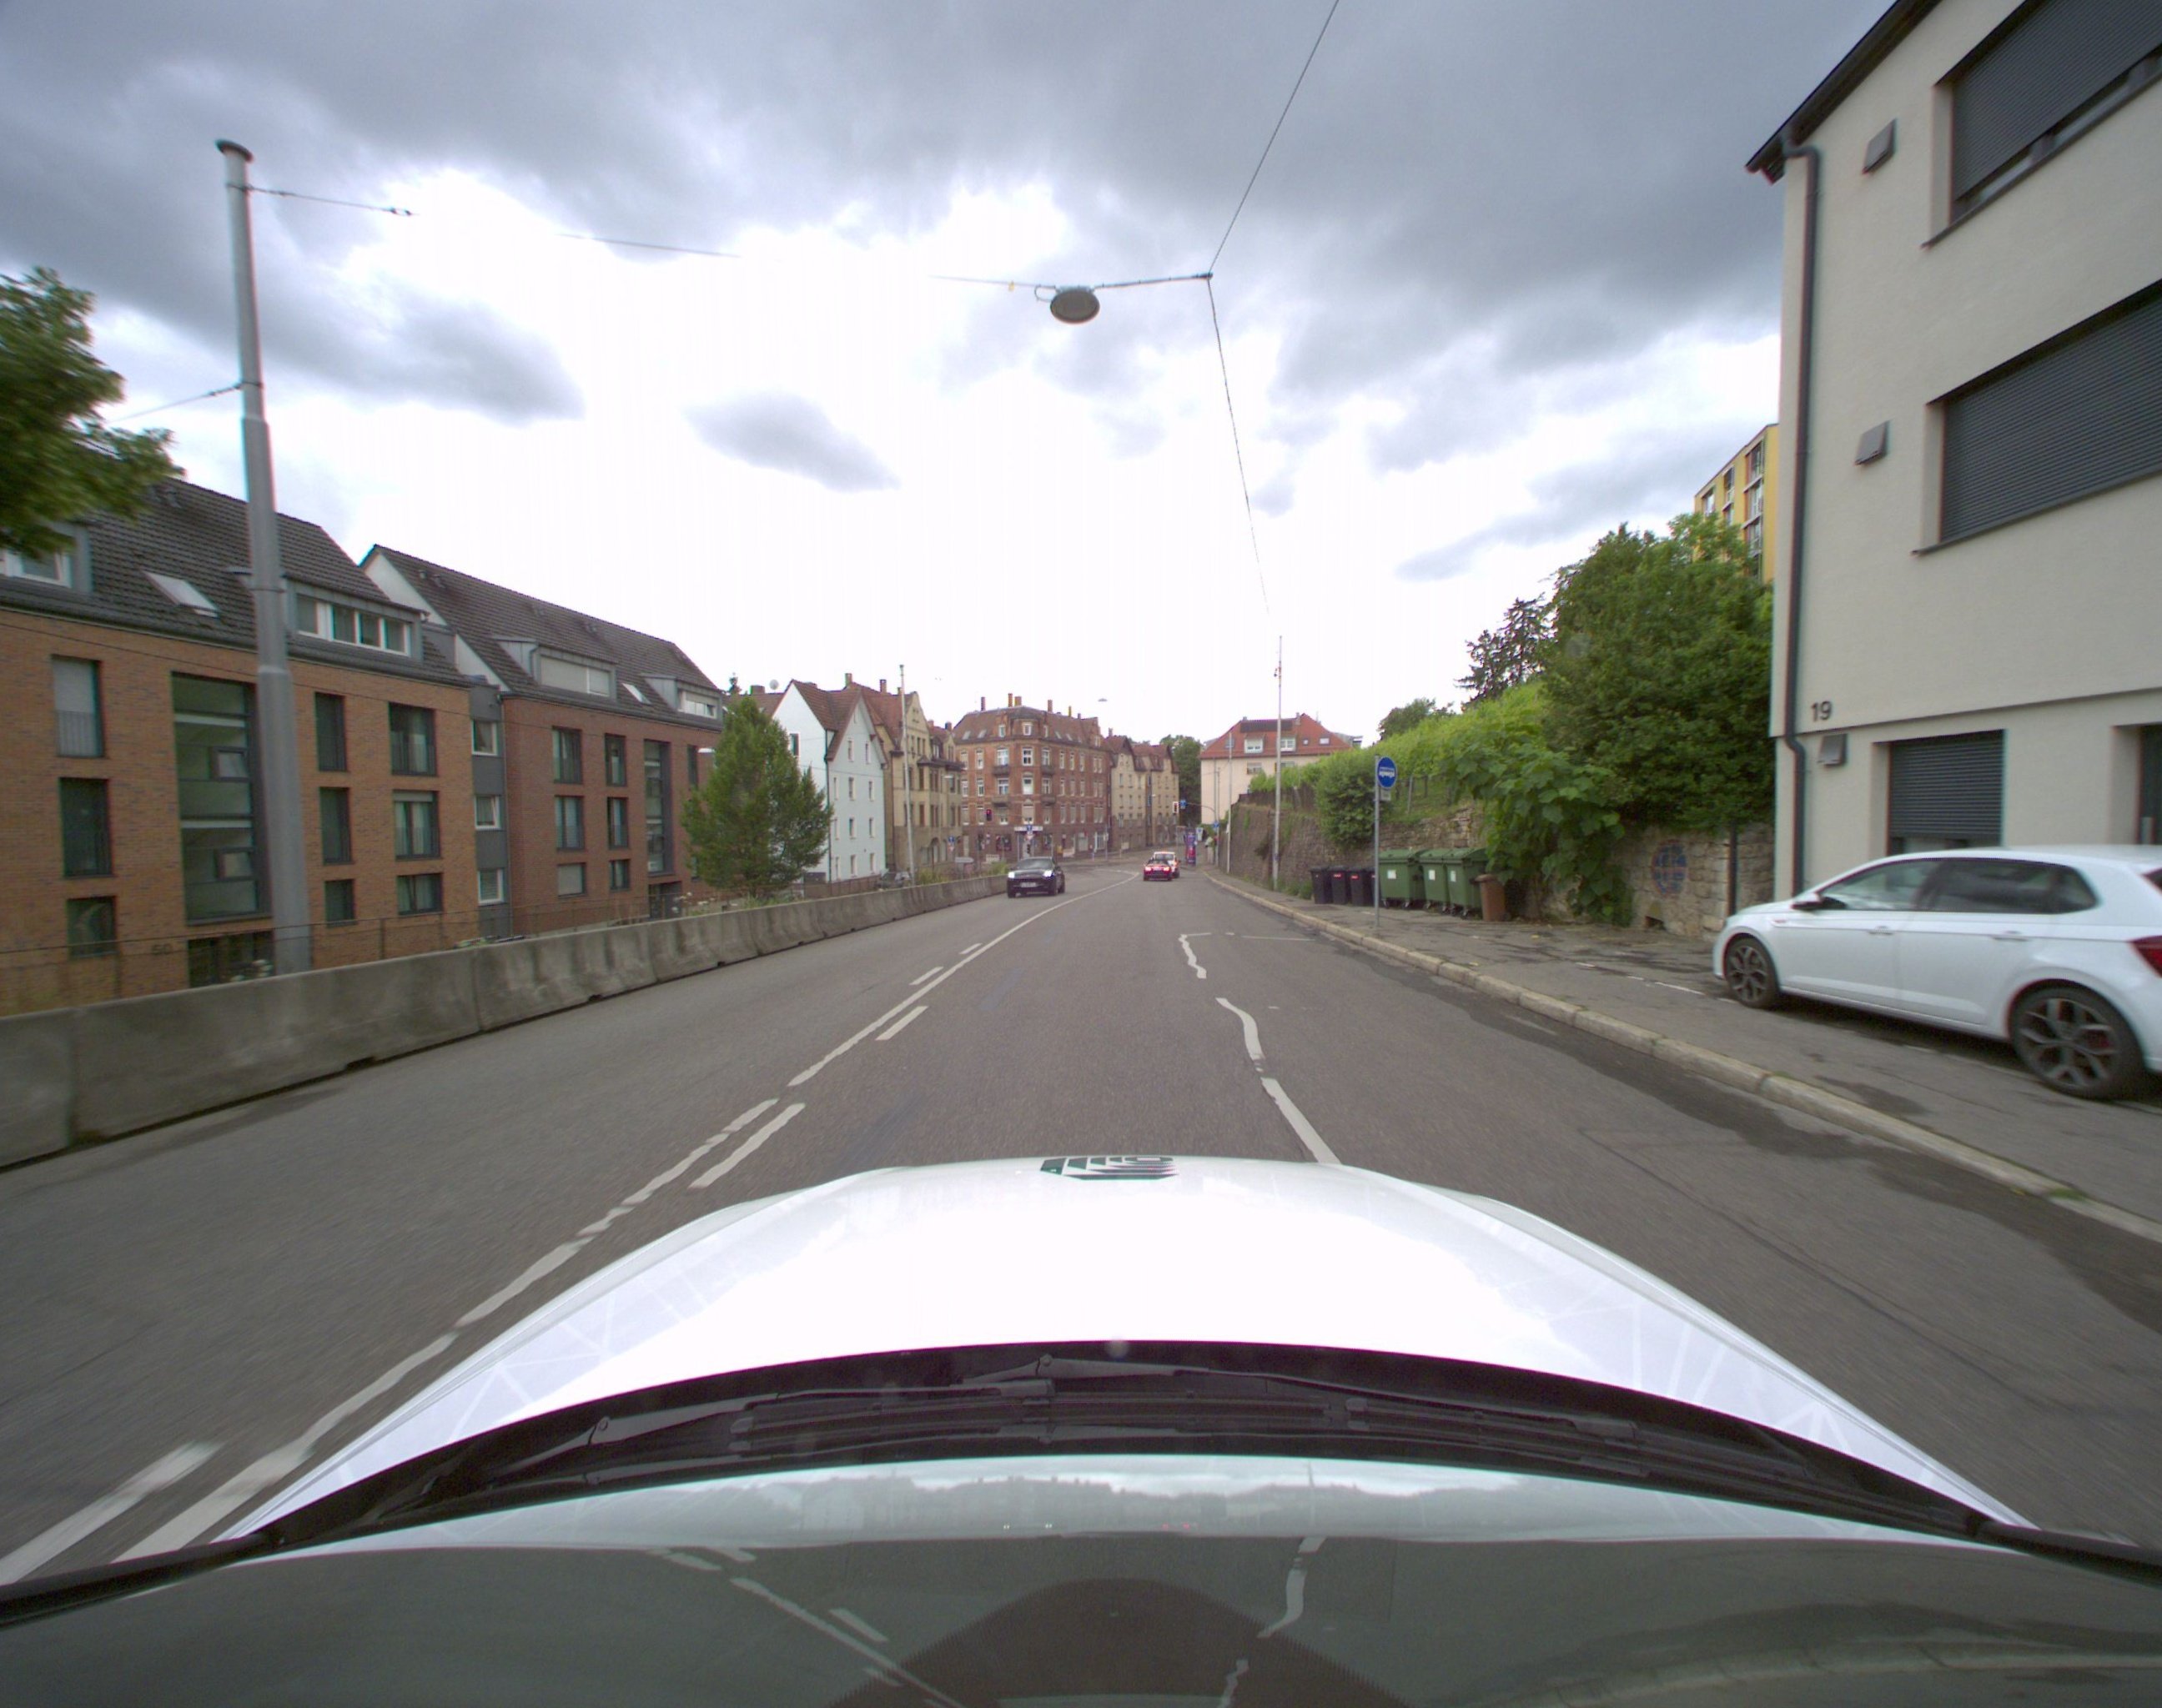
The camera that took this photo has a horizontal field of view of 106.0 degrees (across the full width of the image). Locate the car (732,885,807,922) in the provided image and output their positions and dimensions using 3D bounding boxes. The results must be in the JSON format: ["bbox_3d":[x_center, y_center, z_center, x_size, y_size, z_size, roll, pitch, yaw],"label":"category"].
[{"bbox_3d":[-16.552,2.596,43.555,1.783,1.608,4.226,-3,0,9],"label":"car"}]

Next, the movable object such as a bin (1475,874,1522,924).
[{"bbox_3d":[8.136,0.864,15.898,0.592,0.942,0.640,-1,-1,2],"label":"movable object such as a bin"}]

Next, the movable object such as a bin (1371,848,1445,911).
[{"bbox_3d":[7.988,0.605,19.959,1.049,1.445,1.412,-1,-1,-13],"label":"movable object such as a bin"}]

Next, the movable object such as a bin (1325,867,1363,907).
[{"bbox_3d":[7.192,0.894,22.302,0.743,1.058,0.676,-1,-1,-13],"label":"movable object such as a bin"}]

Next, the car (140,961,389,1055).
[{"bbox_3d":[-20.031,3.725,20.260,1.783,1.510,4.011,-3,0,9],"label":"car"}]

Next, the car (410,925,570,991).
[{"bbox_3d":[-18.898,3.284,26.282,1.783,1.510,4.011,-3,0,9],"label":"car"}]

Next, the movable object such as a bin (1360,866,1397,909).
[{"bbox_3d":[7.639,0.844,20.922,0.710,1.058,0.544,-1,-1,-14],"label":"movable object such as a bin"}]

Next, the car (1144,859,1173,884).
[{"bbox_3d":[5.016,1.107,52.516,1.807,1.430,4.007,0,1,6],"label":"car"}]

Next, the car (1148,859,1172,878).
[{"bbox_3d":[6.487,1.148,66.500,1.832,1.441,4.007,0,0,6],"label":"car"}]

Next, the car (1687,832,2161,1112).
[{"bbox_3d":[6.726,0.598,5.987,1.785,1.423,4.011,-3,0,5],"label":"car"}]

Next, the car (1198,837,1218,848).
[{"bbox_3d":[20.115,-1.812,128.651,1.824,1.702,4.025,0,2,28],"label":"car"}]

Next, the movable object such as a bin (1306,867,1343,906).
[{"bbox_3d":[6.868,0.908,22.947,0.743,1.058,0.676,-1,-1,-13],"label":"movable object such as a bin"}]

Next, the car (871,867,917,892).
[{"bbox_3d":[-13.633,1.820,59.518,1.783,1.510,4.011,-2,2,9],"label":"car"}]

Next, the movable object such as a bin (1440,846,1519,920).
[{"bbox_3d":[8.227,0.585,16.868,1.043,1.445,1.206,-1,-1,2],"label":"movable object such as a bin"}]

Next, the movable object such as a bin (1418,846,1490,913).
[{"bbox_3d":[8.338,0.560,18.262,1.044,1.445,1.205,-1,-1,-1],"label":"movable object such as a bin"}]

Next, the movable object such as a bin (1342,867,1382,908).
[{"bbox_3d":[7.419,0.874,21.525,0.743,1.058,0.676,-1,-1,-13],"label":"movable object such as a bin"}]

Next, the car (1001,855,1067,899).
[{"bbox_3d":[-1.872,0.882,33.770,1.972,1.574,4.382,-3,0,6],"label":"car"}]

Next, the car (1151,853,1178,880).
[{"bbox_3d":[6.086,0.845,59.299,1.899,1.884,4.007,0,0,6],"label":"car"}]
